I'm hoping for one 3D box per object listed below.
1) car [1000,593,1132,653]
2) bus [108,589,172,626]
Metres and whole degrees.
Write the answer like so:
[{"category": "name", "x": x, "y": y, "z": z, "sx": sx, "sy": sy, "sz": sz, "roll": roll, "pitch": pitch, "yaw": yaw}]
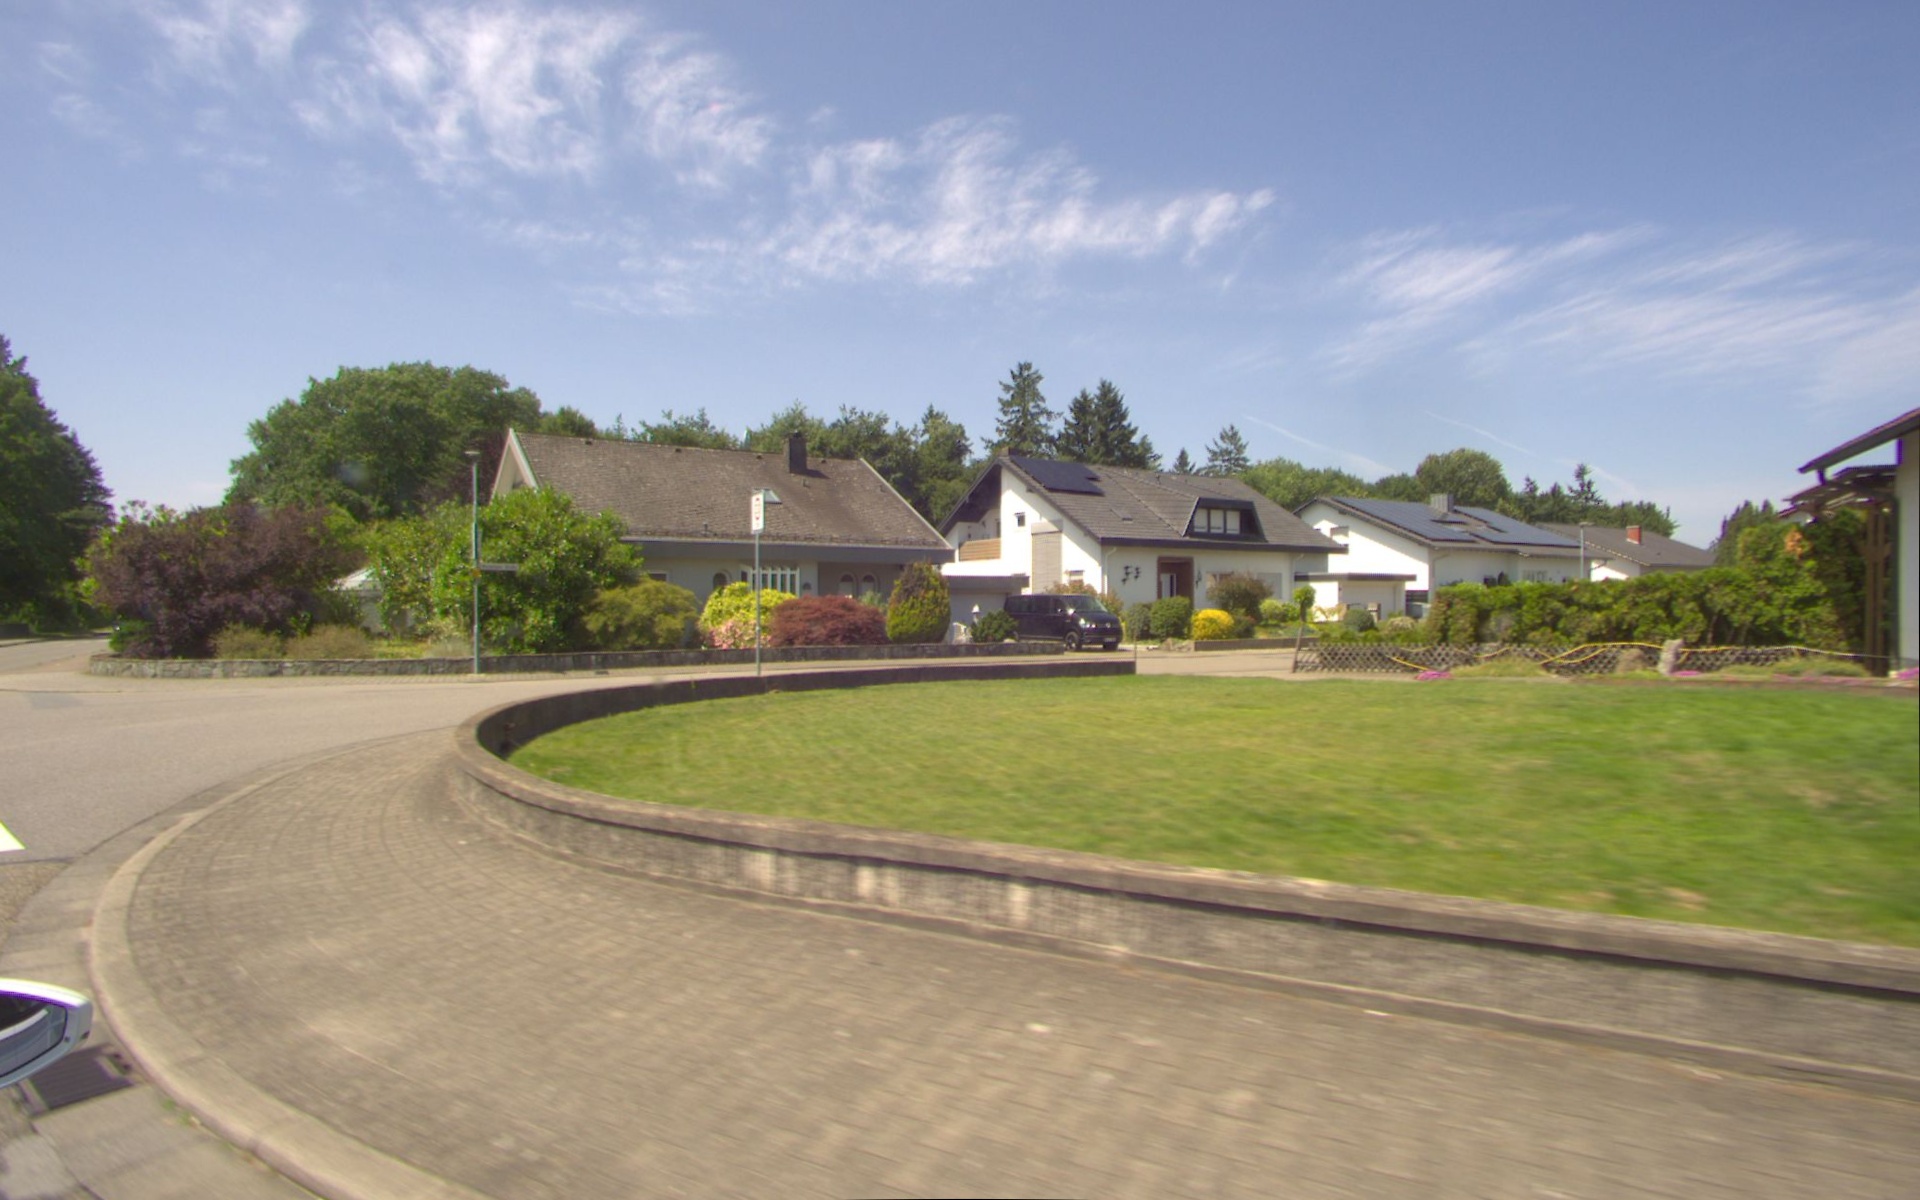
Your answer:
[{"category": "car", "x": 3.617, "y": 0.746, "z": 34.986, "sx": 1.903, "sy": 1.940, "sz": 4.935, "roll": 0, "pitch": 0, "yaw": -33}, {"category": "bus", "x": -77.420, "y": 0.718, "z": 94.786, "sx": 3.149, "sy": 3.287, "sz": 12.634, "roll": -1, "pitch": 0, "yaw": -33}]
